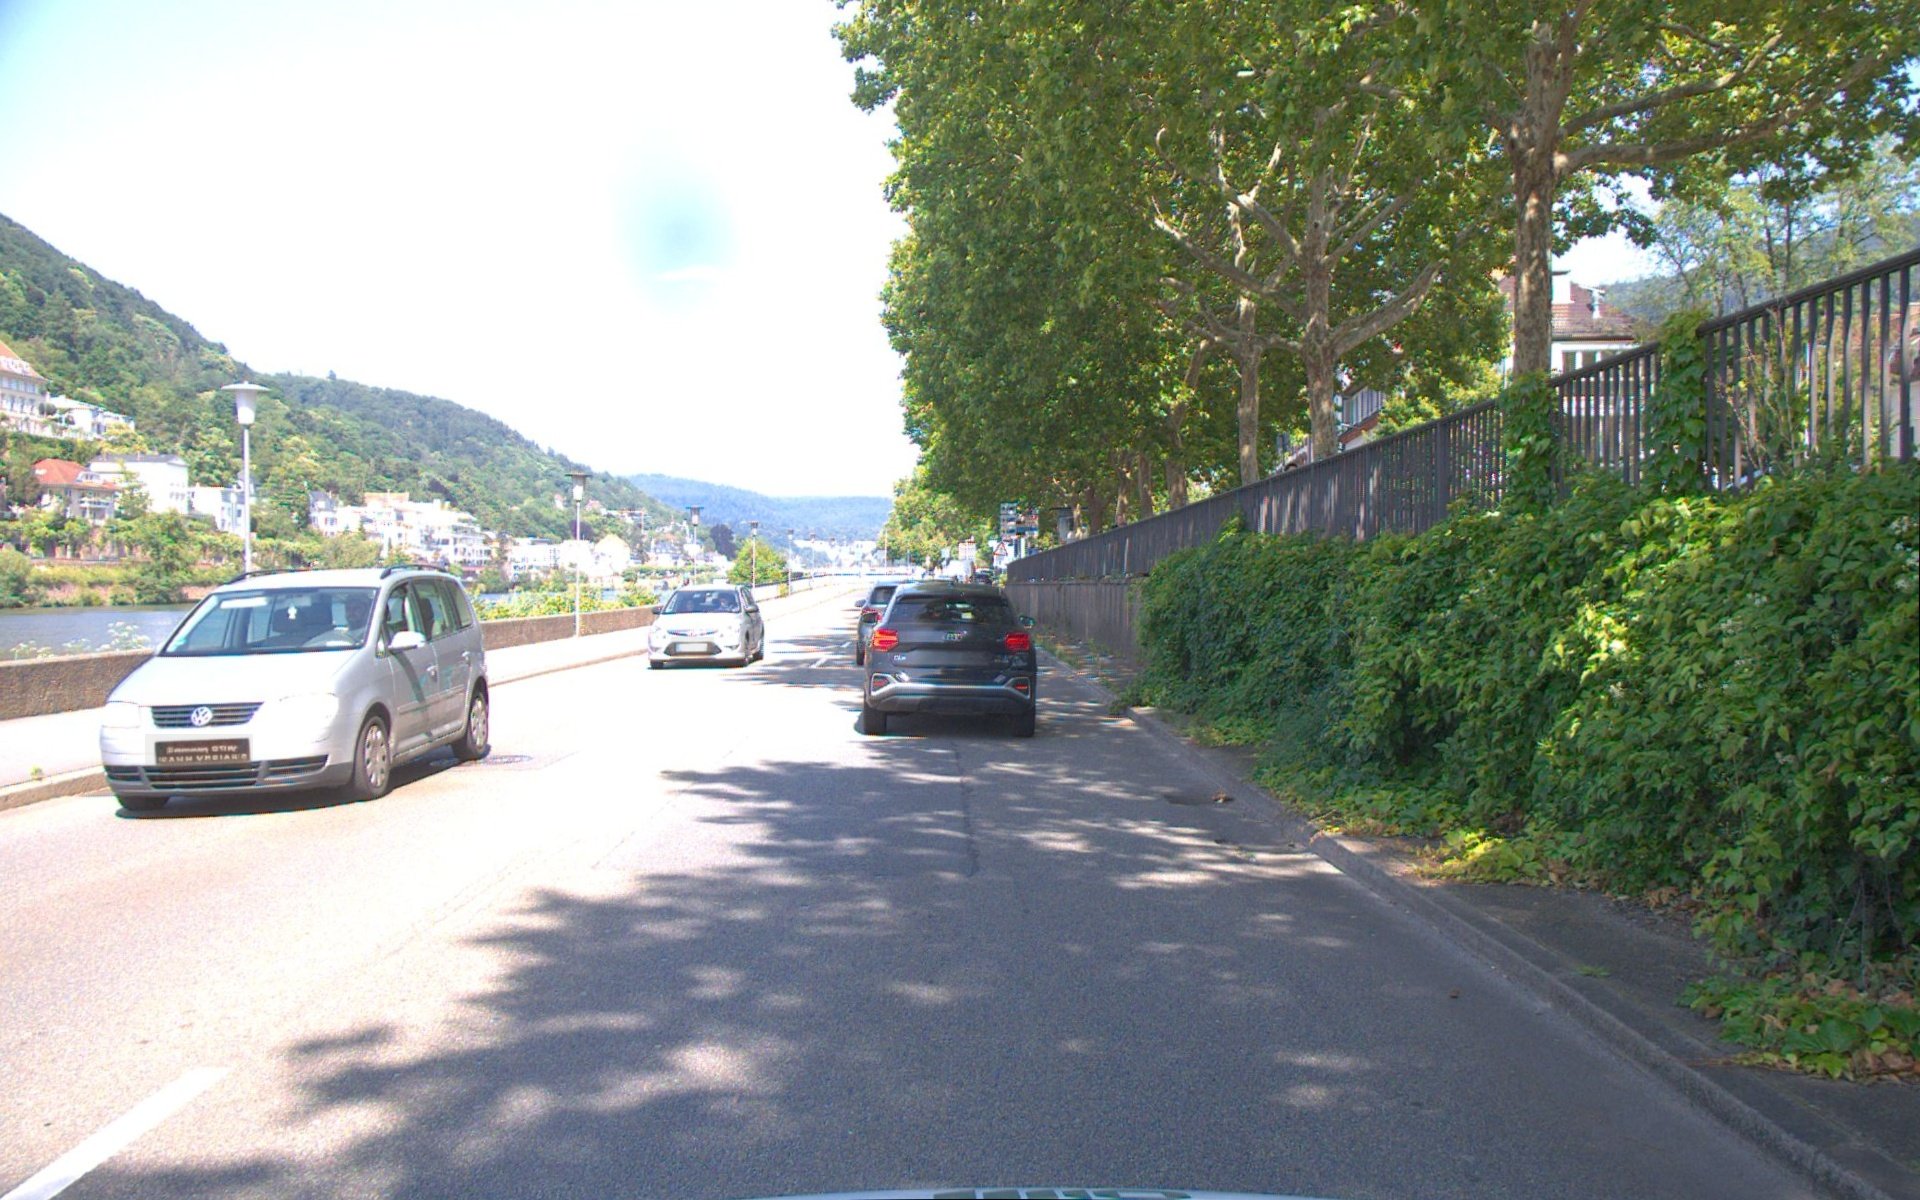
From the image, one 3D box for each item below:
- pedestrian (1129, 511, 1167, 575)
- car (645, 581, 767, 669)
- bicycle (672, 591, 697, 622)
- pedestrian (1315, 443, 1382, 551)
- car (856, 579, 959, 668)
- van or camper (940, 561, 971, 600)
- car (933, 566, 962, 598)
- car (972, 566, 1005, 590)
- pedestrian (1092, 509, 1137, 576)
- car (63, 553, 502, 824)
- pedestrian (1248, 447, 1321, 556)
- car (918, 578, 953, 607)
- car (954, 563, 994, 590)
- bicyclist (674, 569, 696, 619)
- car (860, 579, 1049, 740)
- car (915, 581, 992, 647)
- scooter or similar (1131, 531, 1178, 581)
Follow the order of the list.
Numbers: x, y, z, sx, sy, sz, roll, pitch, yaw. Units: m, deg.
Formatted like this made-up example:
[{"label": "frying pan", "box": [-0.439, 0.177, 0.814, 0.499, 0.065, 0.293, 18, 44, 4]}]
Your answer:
[{"label": "pedestrian", "box": [4.233, -1.272, 37.316, 0.666, 1.389, 0.989, -3, 1, -2]}, {"label": "car", "box": [-4.606, 0.405, 30.517, 1.696, 1.467, 4.044, -1, 1, -2]}, {"label": "bicycle", "box": [-9.535, 0.211, 57.281, 0.619, 1.029, 1.985, 0, 1, -2]}, {"label": "pedestrian", "box": [5.251, -1.381, 22.378, 0.631, 1.389, 0.794, -3, 1, -3]}, {"label": "car", "box": [-0.992, 0.397, 31.179, 1.791, 1.537, 3.999, 1, 1, -2]}, {"label": "van or camper", "box": [-0.334, -1.511, 125.857, 2.262, 2.897, 4.246, 0, 1, 0]}, {"label": "car", "box": [-0.874, -1.285, 116.808, 1.953, 2.207, 3.999, 0, 1, -2]}, {"label": "car", "box": [2.552, -1.965, 148.477, 2.608, 2.048, 5.823, -3, 1, -2]}, {"label": "pedestrian", "box": [3.829, -1.411, 41.047, 0.918, 1.607, 1.027, -3, 1, -3]}, {"label": "car", "box": [-4.897, 0.539, 12.650, 1.696, 1.679, 4.176, -2, 1, -2]}, {"label": "pedestrian", "box": [4.351, -1.314, 22.220, 0.738, 1.389, 0.814, -3, 1, -3]}, {"label": "car", "box": [-1.331, -0.416, 87.723, 1.791, 1.469, 3.999, 1, 1, -2]}, {"label": "car", "box": [1.161, -1.931, 137.483, 3.036, 2.048, 5.823, -3, 1, -2]}, {"label": "bicyclist", "box": [-9.541, -0.215, 57.432, 0.624, 1.703, 0.871, 0, 0, -2]}, {"label": "car", "box": [-0.107, 0.547, 17.852, 1.791, 1.512, 3.999, 1, 1, -2]}, {"label": "car", "box": [-0.219, 0.311, 41.105, 1.791, 1.512, 3.999, 1, 1, -2]}, {"label": "scooter or similar", "box": [4.271, -0.967, 36.356, 0.838, 1.044, 1.107, -3, 1, -2]}]
